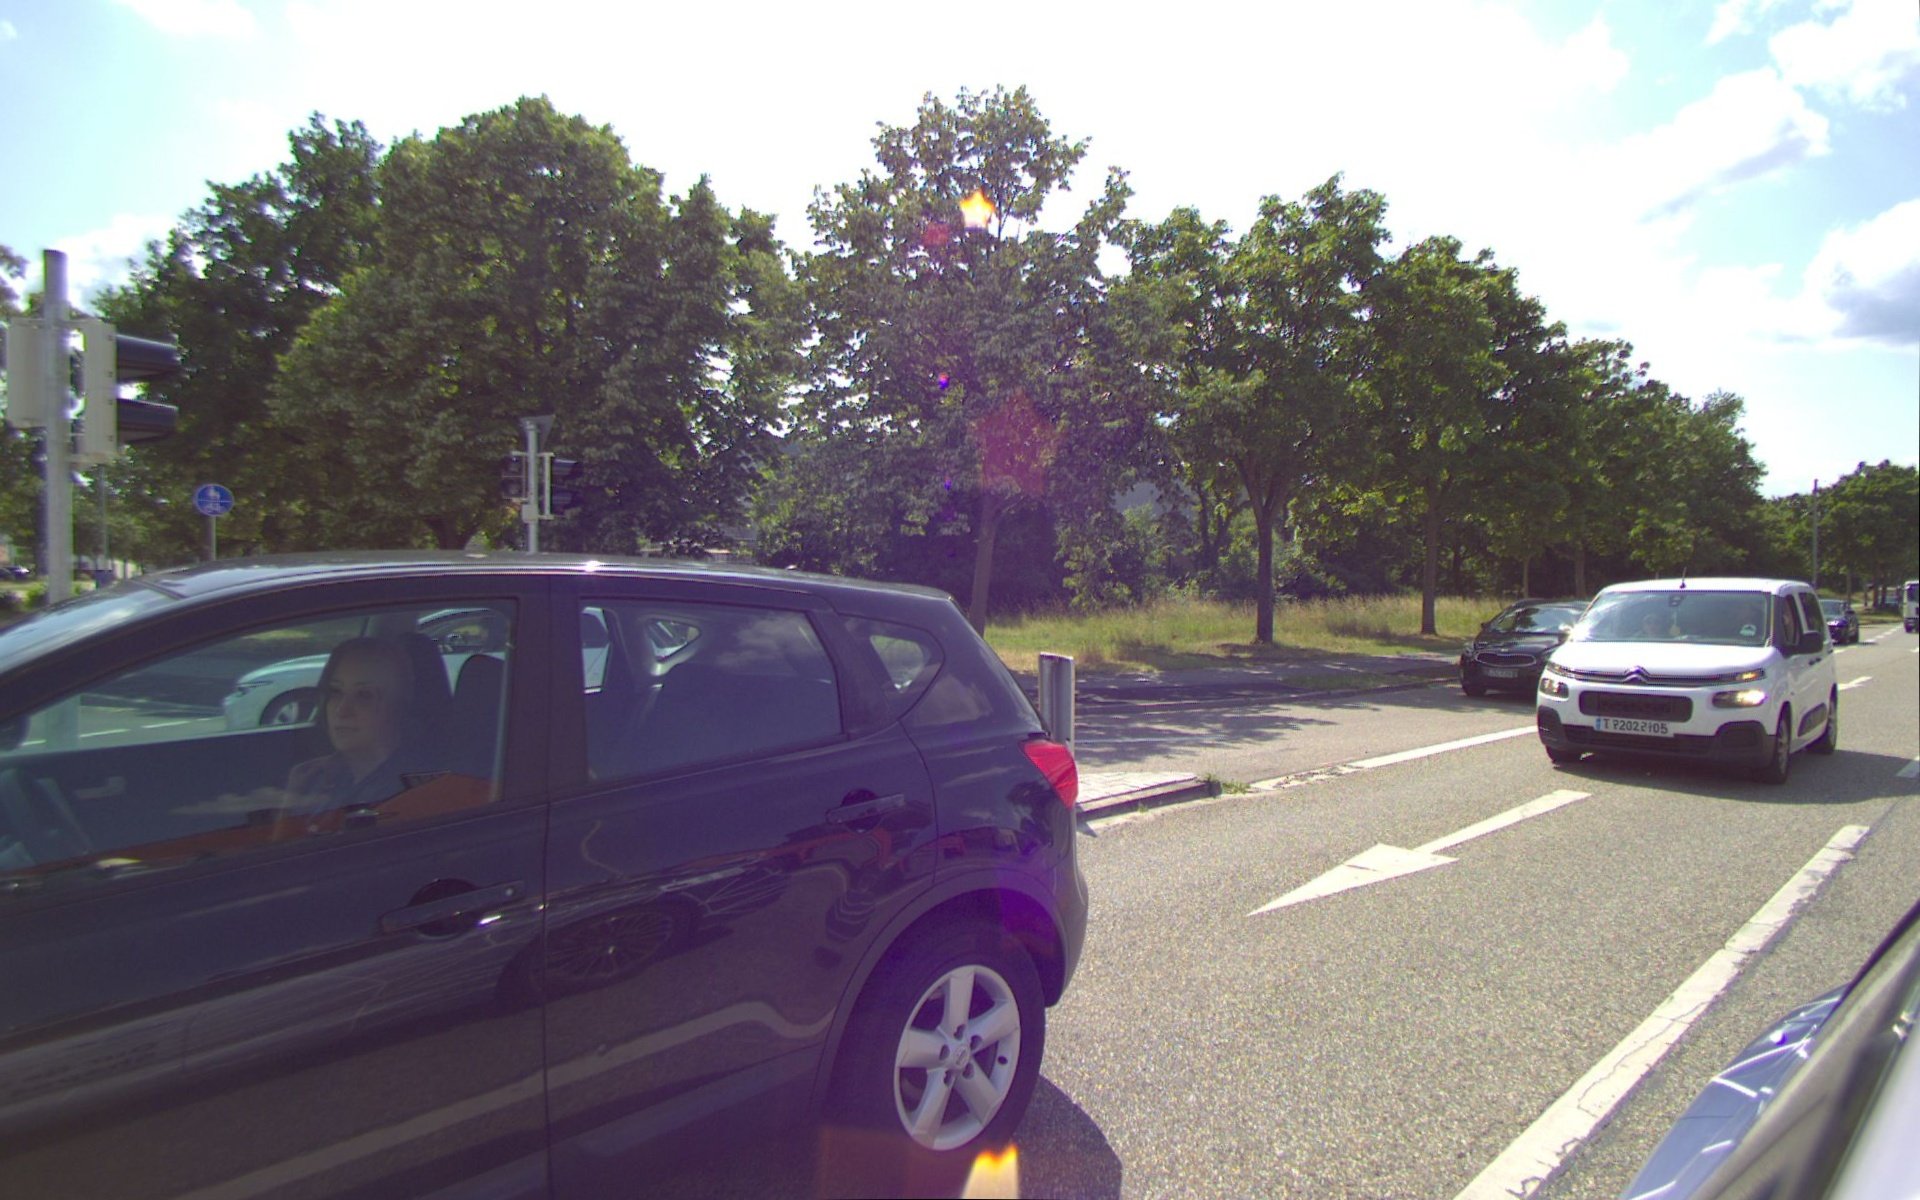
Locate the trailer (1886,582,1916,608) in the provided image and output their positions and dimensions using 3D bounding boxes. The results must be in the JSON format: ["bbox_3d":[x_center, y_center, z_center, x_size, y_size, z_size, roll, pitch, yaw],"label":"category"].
[{"bbox_3d":[87.990,-0.505,94.615,1.953,2.380,4.533,2,3,44],"label":"trailer"}]

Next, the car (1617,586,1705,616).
[{"bbox_3d":[42.716,0.047,61.706,4.161,1.511,1.757,5,2,41],"label":"car"}]

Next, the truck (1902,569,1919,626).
[{"bbox_3d":[48.966,-0.222,49.897,7.224,2.697,2.845,-2,0,-41],"label":"truck"}]

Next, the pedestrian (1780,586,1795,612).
[{"bbox_3d":[58.158,-0.085,71.126,0.728,1.816,0.717,-1,-1,-45],"label":"pedestrian"}]

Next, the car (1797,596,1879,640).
[{"bbox_3d":[33.077,0.662,38.100,3.930,1.509,1.757,-2,0,-41],"label":"car"}]

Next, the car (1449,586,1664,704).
[{"bbox_3d":[9.937,0.649,16.743,4.164,1.670,1.768,-2,0,-41],"label":"car"}]

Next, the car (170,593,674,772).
[{"bbox_3d":[-4.911,0.701,9.841,4.007,1.505,1.741,0,0,-12],"label":"car"}]

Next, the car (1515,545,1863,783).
[{"bbox_3d":[7.347,0.499,9.989,4.637,1.808,1.932,0,-1,-44],"label":"car"}]

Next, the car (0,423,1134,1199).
[{"bbox_3d":[-1.564,0.562,2.252,3.933,1.572,1.801,-2,0,-43],"label":"car"}]

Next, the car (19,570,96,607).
[{"bbox_3d":[-32.314,-0.399,36.219,1.884,1.193,3.768,-1,0,-44],"label":"car"}]
